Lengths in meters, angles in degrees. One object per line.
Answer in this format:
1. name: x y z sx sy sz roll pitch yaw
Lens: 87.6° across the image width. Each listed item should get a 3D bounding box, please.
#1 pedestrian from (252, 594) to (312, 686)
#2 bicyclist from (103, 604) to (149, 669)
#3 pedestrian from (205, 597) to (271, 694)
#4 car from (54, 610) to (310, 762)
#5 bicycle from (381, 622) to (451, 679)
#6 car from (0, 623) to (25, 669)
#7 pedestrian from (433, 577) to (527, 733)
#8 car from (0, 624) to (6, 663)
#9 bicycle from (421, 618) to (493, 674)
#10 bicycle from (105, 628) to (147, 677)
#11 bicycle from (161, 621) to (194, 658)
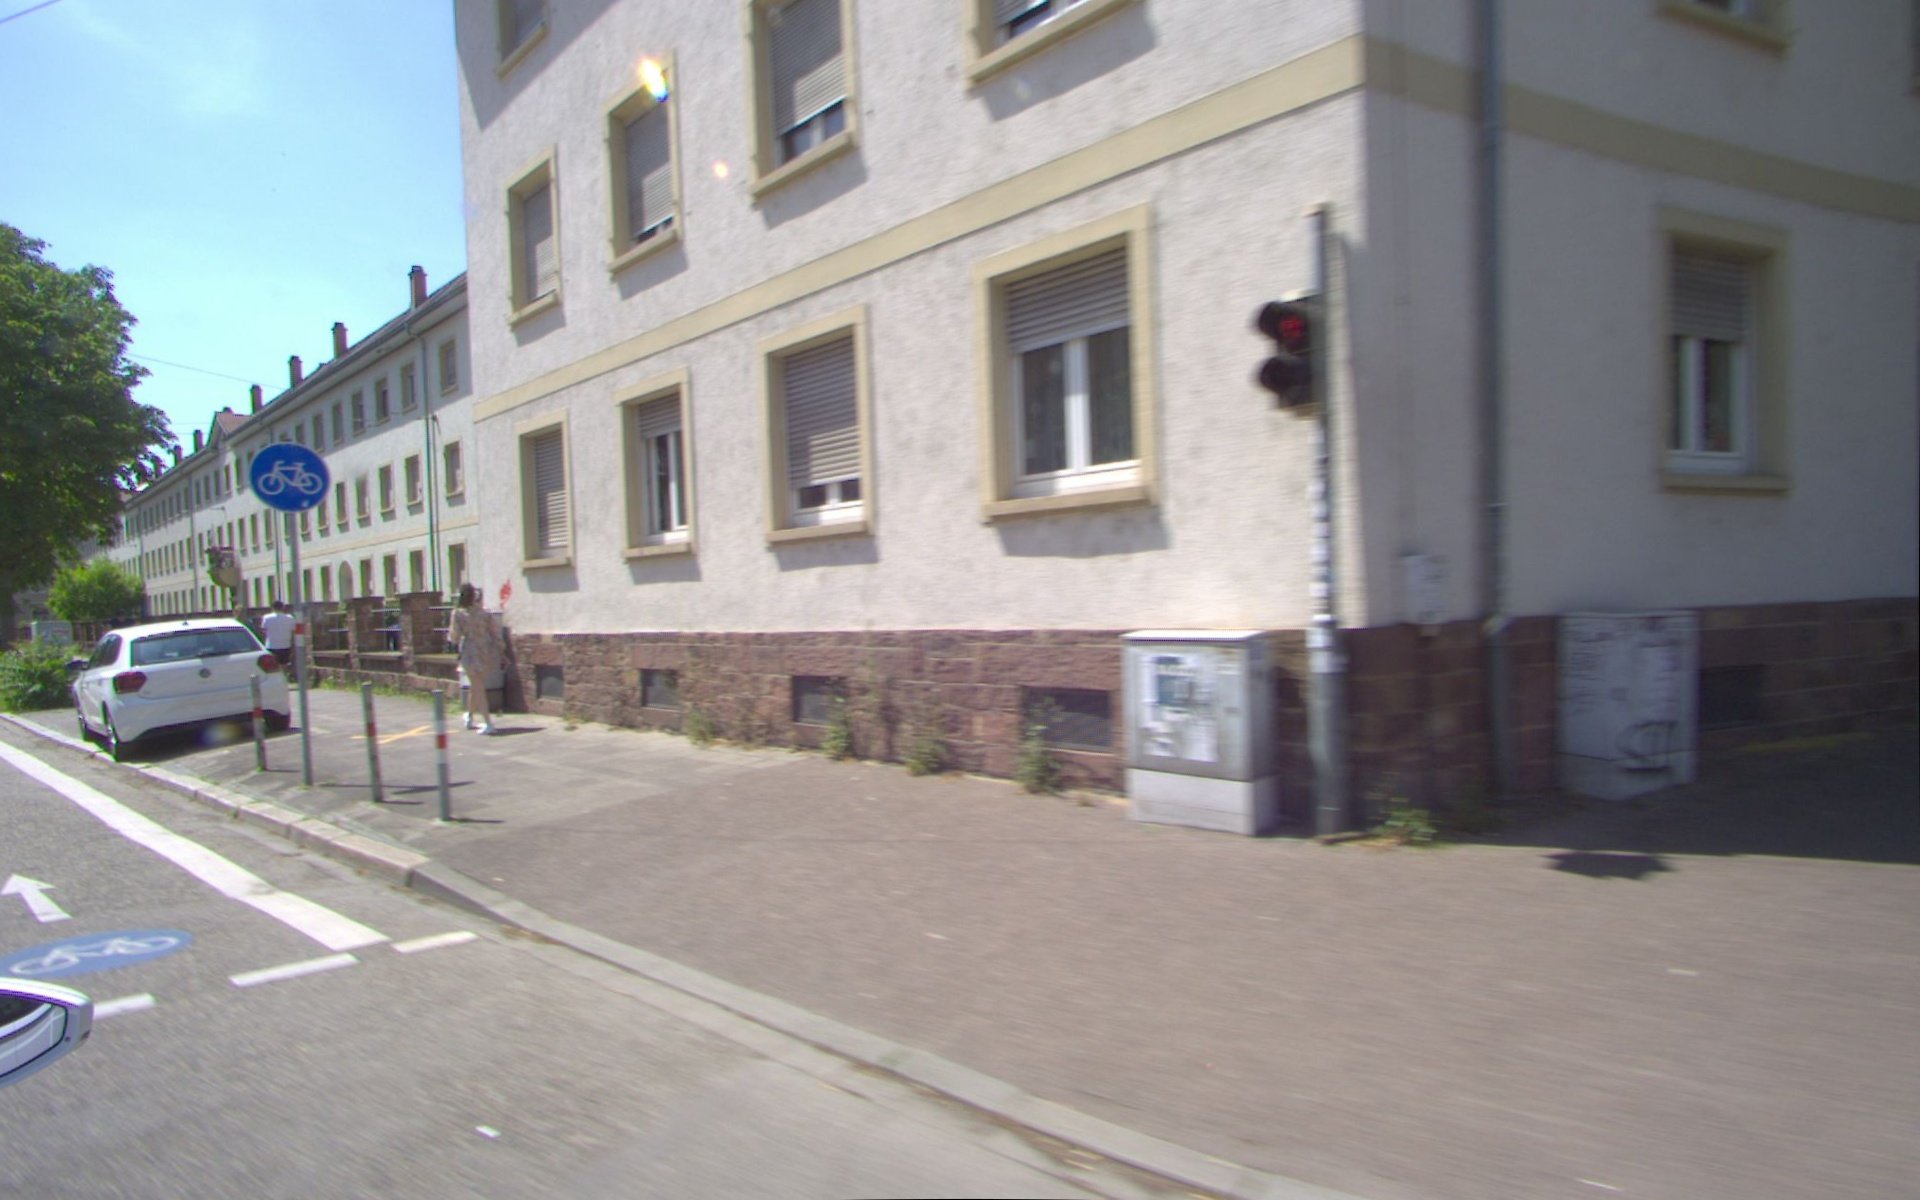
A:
1. pedestrian: -13.005 0.752 19.208 0.748 1.693 0.693 -1 4 43
2. bicyclist: -19.486 0.837 23.400 0.706 1.471 1.000 -2 1 -44
3. pedestrian: -13.206 0.814 18.313 0.859 1.693 0.693 -1 4 43
4. car: -9.851 0.954 12.566 4.111 1.430 1.766 -1 5 43
5. bicycle: -10.858 0.986 19.951 1.842 1.077 0.524 -1 1 39
6. car: -34.458 1.624 35.405 3.954 1.535 1.648 -1 1 41
7. pedestrian: -5.456 0.595 11.373 0.748 1.692 0.693 -1 1 42
8. car: -40.643 1.808 41.128 4.404 1.573 1.723 -1 1 42
9. bicycle: -10.354 0.929 20.592 1.820 1.077 0.594 -1 1 39
10. bicycle: -19.541 1.213 23.455 0.598 1.065 1.805 -2 1 -44
11. bicycle: -28.175 1.406 36.049 1.949 1.226 0.593 -1 3 44
